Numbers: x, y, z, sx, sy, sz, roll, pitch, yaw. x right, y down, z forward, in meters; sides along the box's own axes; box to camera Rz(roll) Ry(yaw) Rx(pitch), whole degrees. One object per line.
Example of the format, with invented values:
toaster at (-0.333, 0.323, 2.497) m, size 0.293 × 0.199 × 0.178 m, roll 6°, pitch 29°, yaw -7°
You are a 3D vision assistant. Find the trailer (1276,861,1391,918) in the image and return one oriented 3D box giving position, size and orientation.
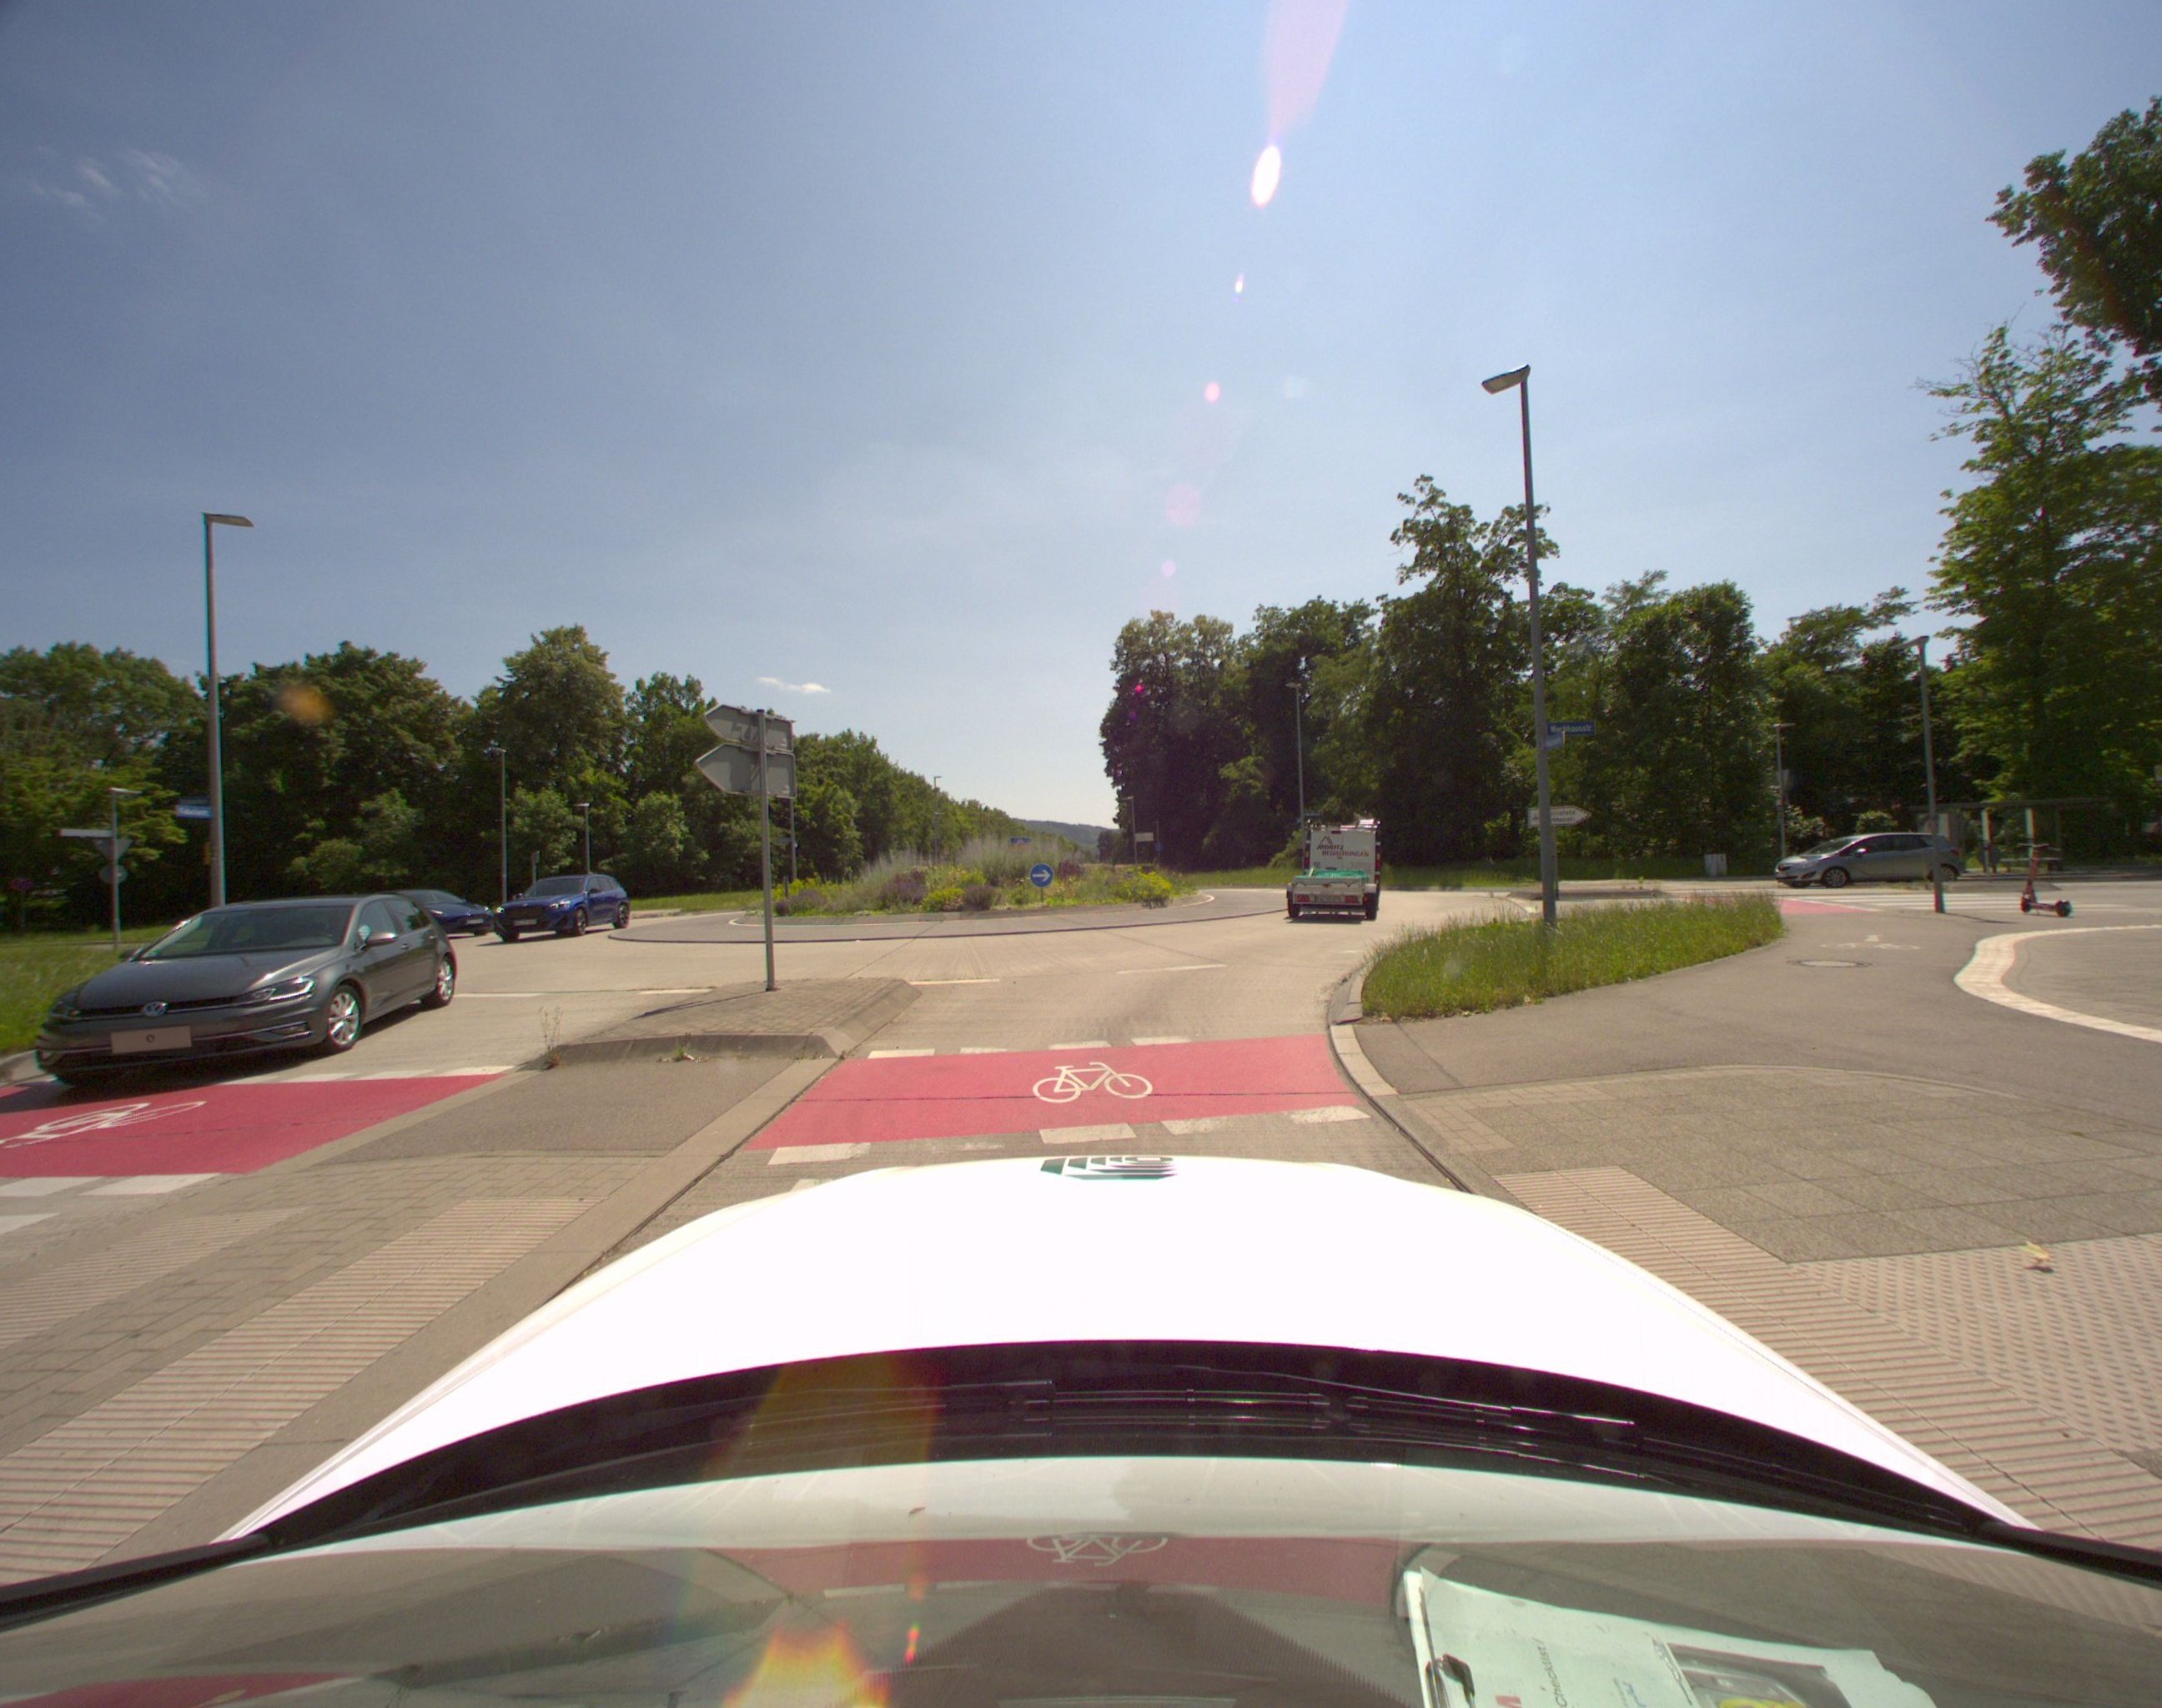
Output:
trailer at (5.596, 0.734, 17.786) m, size 2.103 × 1.097 × 3.372 m, roll -2°, pitch -1°, yaw 22°

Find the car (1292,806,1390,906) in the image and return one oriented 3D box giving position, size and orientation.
car at (6.893, 0.093, 21.688) m, size 2.149 × 2.316 × 5.003 m, roll -2°, pitch -1°, yaw 17°

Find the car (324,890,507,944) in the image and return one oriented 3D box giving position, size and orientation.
car at (-20.723, 1.948, 25.430) m, size 4.516 × 1.494 × 1.965 m, roll -2°, pitch -1°, yaw 11°

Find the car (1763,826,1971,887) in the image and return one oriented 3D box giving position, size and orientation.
car at (23.100, 0.097, 24.114) m, size 4.086 × 1.607 × 1.796 m, roll -2°, pitch -1°, yaw 12°

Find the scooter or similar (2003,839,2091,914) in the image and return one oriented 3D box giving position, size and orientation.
scooter or similar at (16.162, 0.369, 13.658) m, size 0.442 × 1.202 × 1.407 m, roll -2°, pitch -1°, yaw 29°

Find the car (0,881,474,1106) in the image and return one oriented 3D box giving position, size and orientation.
car at (-7.921, 1.081, 8.120) m, size 2.003 × 1.478 × 4.255 m, roll -4°, pitch 0°, yaw -24°

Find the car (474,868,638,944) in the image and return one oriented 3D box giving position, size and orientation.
car at (-13.885, 1.290, 21.907) m, size 1.992 × 1.596 × 4.310 m, roll -3°, pitch 1°, yaw -8°
